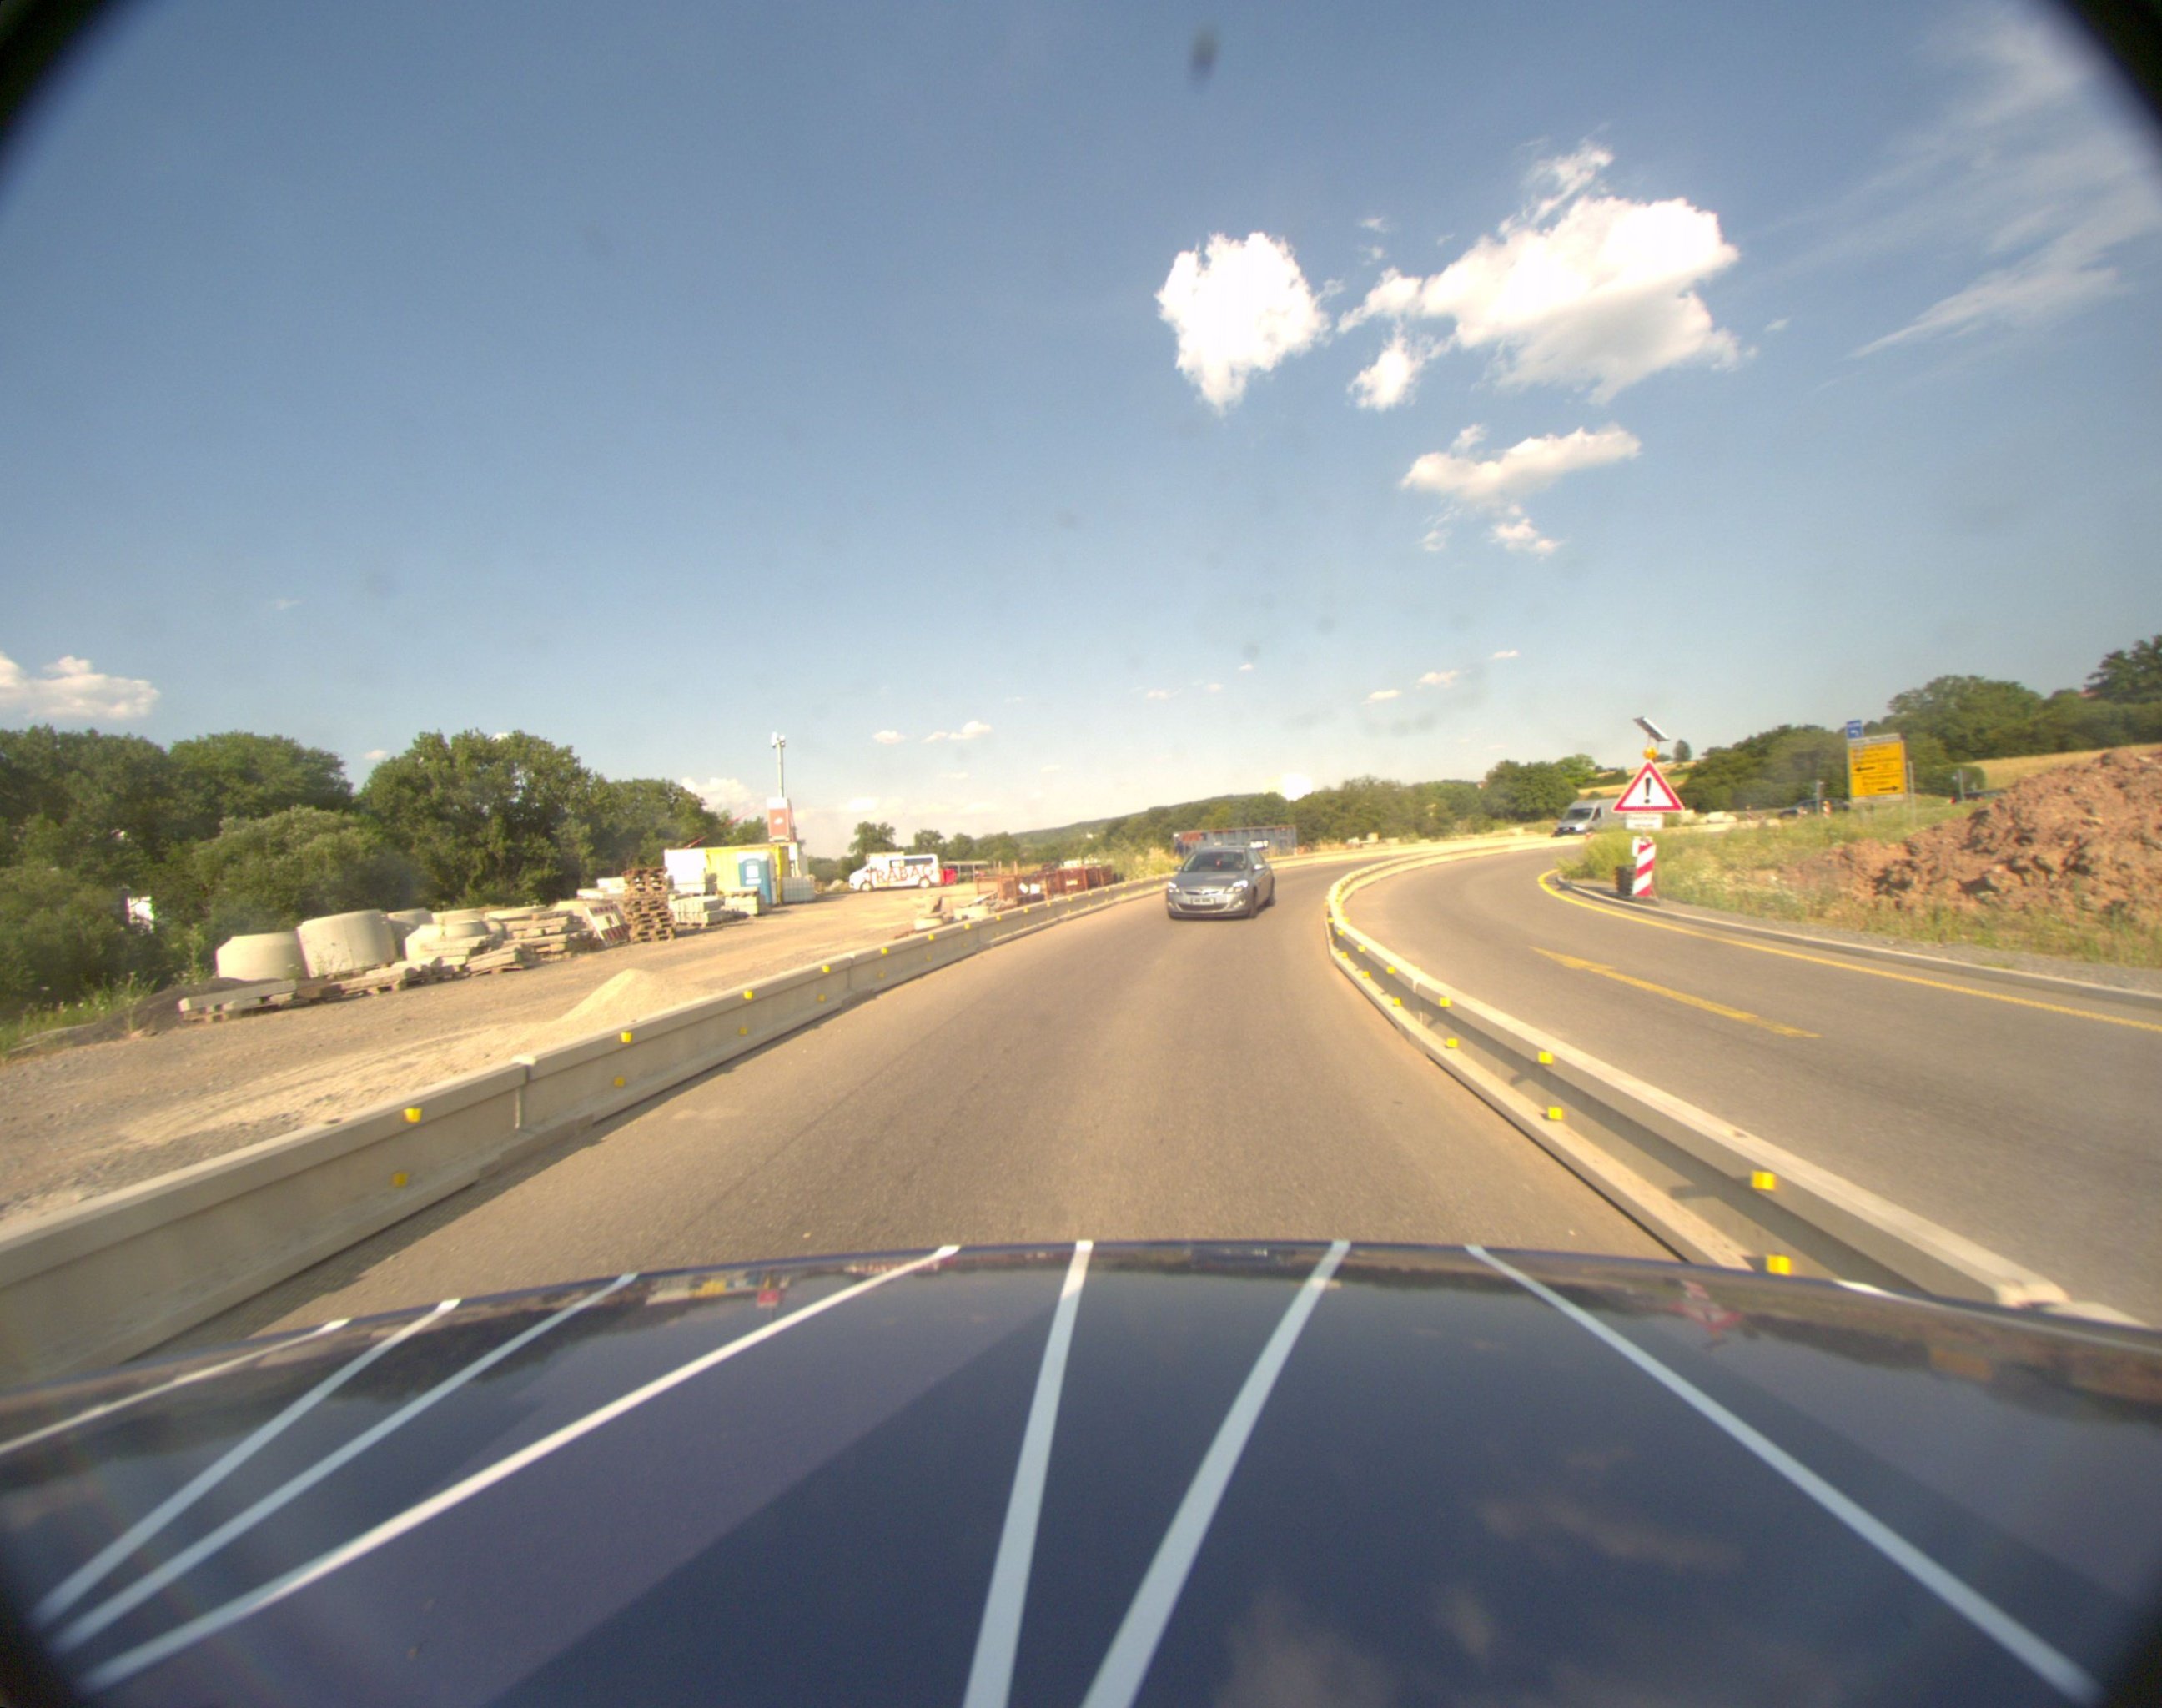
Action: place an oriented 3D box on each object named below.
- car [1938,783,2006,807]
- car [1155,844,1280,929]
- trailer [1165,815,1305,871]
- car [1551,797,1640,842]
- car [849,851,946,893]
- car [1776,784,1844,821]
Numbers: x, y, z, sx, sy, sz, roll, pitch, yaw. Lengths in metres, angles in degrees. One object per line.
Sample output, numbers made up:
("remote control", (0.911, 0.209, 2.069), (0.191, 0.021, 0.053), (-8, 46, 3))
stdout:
("car", (64.612, -4.276, 55.089), (4.518, 1.511, 1.712), (-4, 3, -20))
("car", (3.109, 0.625, 16.591), (1.745, 1.476, 4.257), (-3, 1, 22))
("trailer", (8.265, -0.610, 40.295), (7.239, 2.400, 3.006), (-5, 0, -35))
("car", (32.897, -2.199, 48.567), (5.803, 2.487, 1.914), (-4, 1, -25))
("car", (-10.932, 1.019, 45.393), (5.322, 2.067, 2.484), (-4, 1, -15))
("car", (53.899, -3.788, 56.199), (4.002, 2.390, 1.874), (-4, 1, -17))
